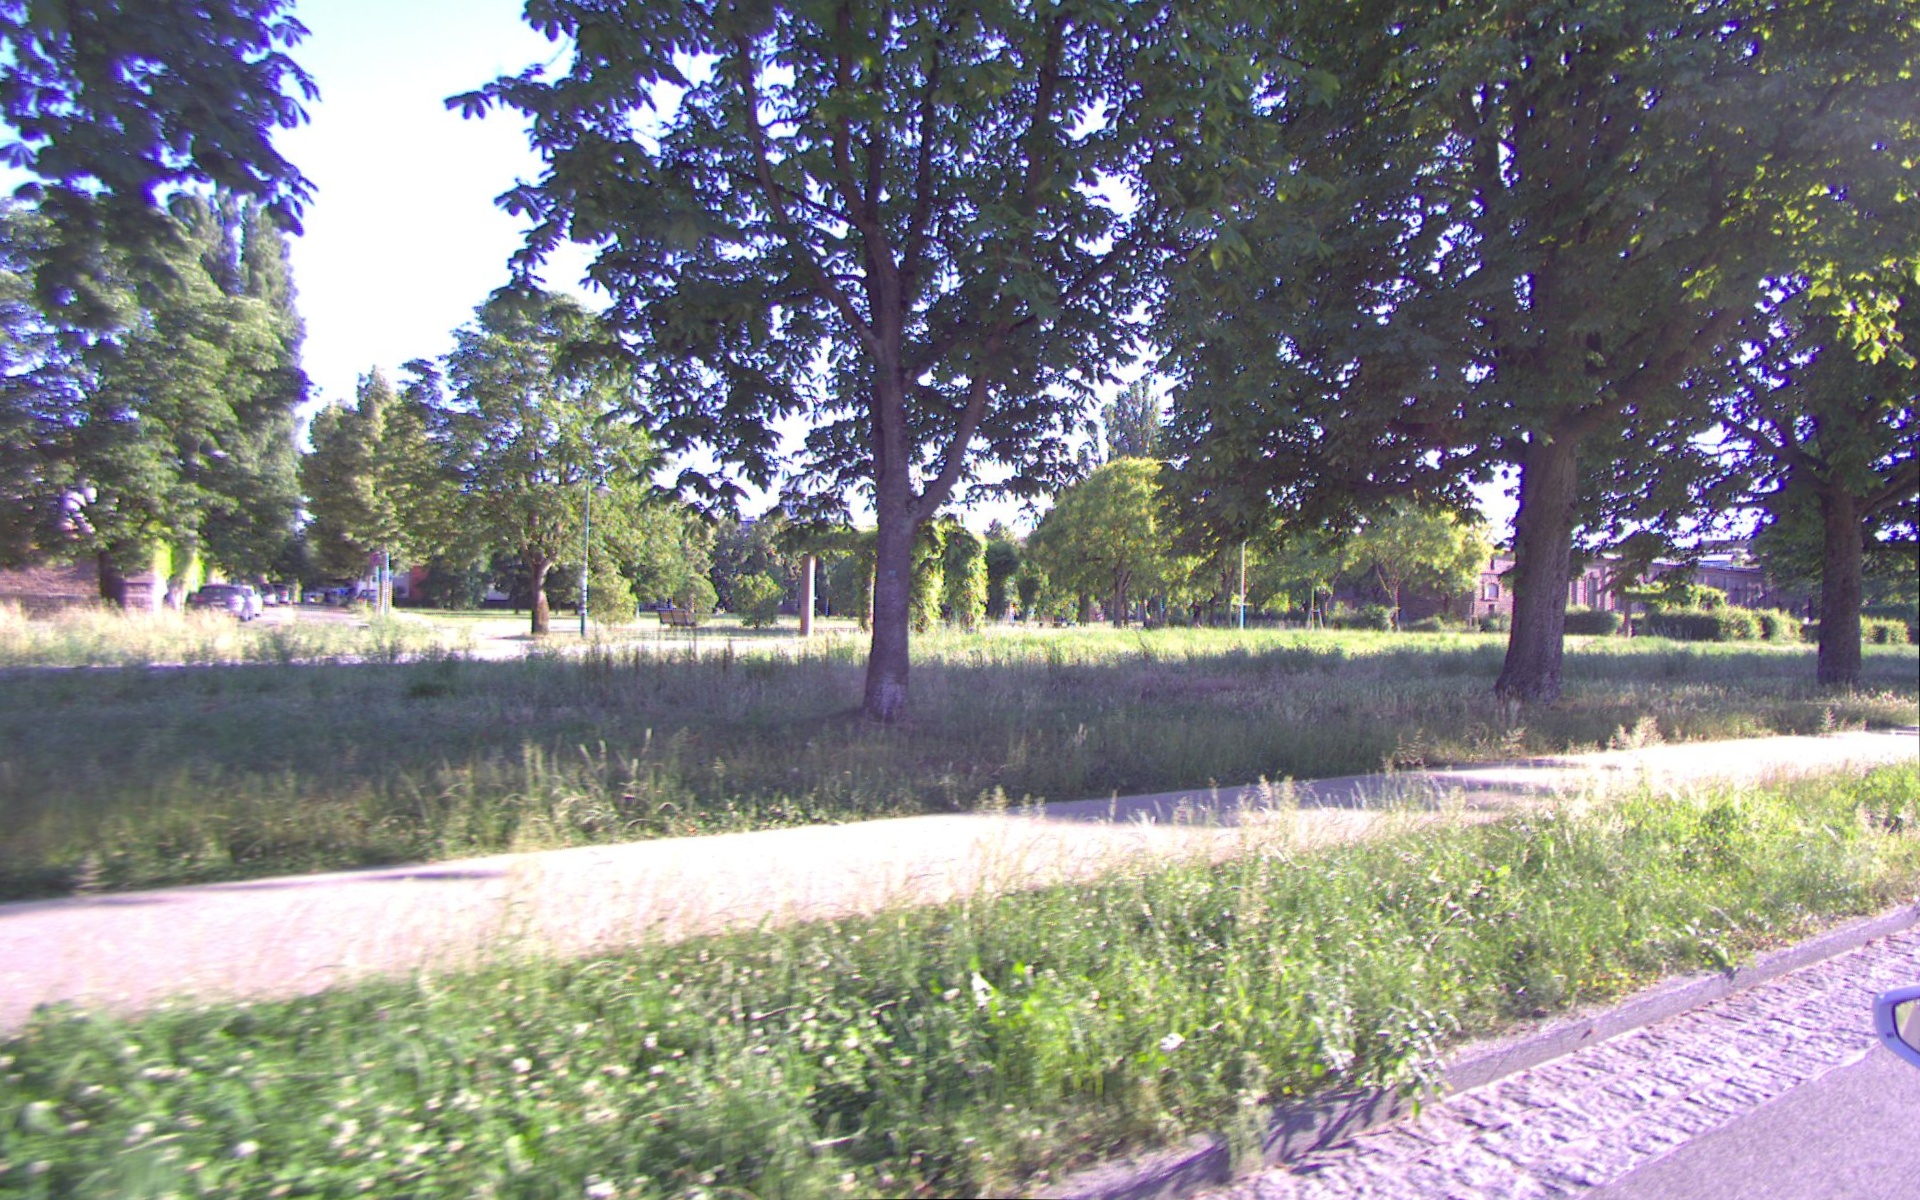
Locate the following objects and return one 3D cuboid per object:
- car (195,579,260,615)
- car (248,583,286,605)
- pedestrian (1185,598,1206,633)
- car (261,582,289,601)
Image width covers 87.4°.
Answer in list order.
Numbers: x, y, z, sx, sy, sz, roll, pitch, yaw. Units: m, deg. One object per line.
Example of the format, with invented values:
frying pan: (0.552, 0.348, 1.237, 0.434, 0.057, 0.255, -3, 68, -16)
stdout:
car: (-29.434, -0.141, 40.463, 1.567, 1.297, 3.613, 2, 0, -28)
car: (-44.499, -0.381, 64.535, 1.567, 1.297, 3.613, 2, 0, -28)
pedestrian: (12.063, 0.777, 51.478, 0.764, 1.747, 0.714, 3, 0, 32)
car: (-52.937, -0.677, 77.623, 1.569, 1.297, 3.608, 2, 0, -31)
